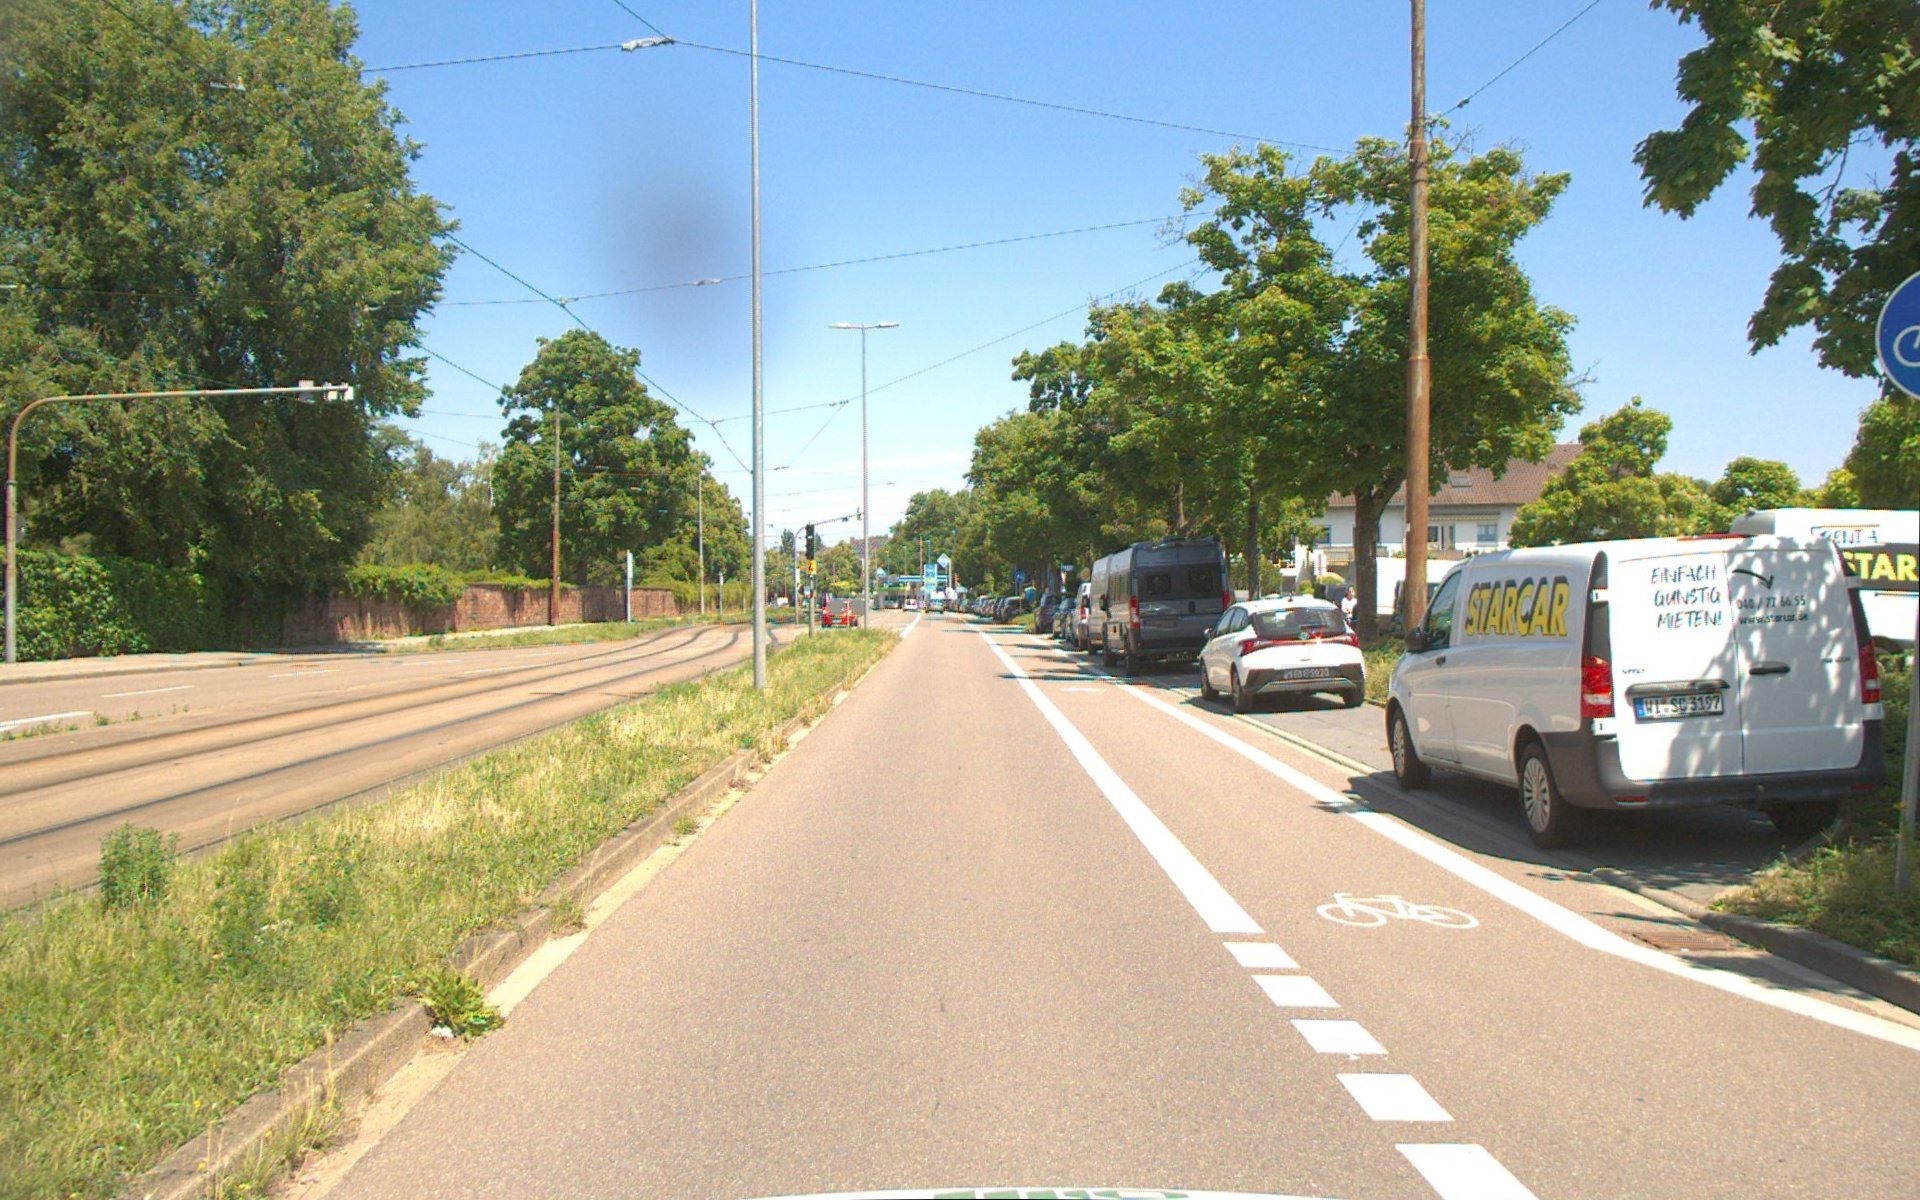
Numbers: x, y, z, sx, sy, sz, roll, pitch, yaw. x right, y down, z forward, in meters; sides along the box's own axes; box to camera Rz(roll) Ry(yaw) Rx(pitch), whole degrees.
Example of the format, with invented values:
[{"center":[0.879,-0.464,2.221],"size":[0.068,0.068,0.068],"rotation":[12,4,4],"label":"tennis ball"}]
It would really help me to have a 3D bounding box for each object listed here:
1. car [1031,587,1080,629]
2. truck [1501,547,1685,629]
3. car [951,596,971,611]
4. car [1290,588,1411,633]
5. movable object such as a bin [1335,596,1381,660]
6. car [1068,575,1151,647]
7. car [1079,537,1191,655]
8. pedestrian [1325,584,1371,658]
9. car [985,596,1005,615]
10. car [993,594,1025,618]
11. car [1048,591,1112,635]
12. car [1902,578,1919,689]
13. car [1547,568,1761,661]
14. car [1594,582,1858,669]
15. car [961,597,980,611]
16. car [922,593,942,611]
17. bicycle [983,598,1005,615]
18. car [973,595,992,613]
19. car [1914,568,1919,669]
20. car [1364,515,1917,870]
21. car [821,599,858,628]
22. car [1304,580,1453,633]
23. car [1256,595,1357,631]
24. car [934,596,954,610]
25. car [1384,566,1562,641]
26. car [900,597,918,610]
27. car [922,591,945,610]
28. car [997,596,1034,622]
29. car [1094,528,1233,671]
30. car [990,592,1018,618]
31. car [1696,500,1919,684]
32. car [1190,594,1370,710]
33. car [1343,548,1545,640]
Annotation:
[{"center":[4.082,0.365,71.282],"size":[1.677,1.661,4.707],"rotation":[-3,-1,-1],"label":"car"},{"center":[26.661,-0.503,69.814],"size":[6.807,3.139,2.424],"rotation":[-2,0,-2],"label":"truck"},{"center":[0.115,0.421,196.643],"size":[1.676,1.589,4.313],"rotation":[-3,0,-10],"label":"car"},{"center":[14.133,0.378,59.996],"size":[3.941,1.517,1.769],"rotation":[2,0,-3],"label":"car"},{"center":[8.720,0.606,36.228],"size":[0.776,1.376,0.889],"rotation":[0,0,-1],"label":"movable object such as a bin"},{"center":[4.333,0.283,48.762],"size":[1.956,1.911,5.276],"rotation":[-3,0,1],"label":"car"},{"center":[4.339,-0.102,42.061],"size":[1.957,2.682,6.141],"rotation":[-3,0,-1],"label":"car"},{"center":[8.705,0.462,37.154],"size":[0.789,1.653,0.943],"rotation":[0,0,-1],"label":"pedestrian"},{"center":[3.002,0.478,142.499],"size":[1.488,1.556,3.816],"rotation":[-3,0,-1],"label":"car"},{"center":[3.376,0.397,114.951],"size":[1.804,1.556,4.350],"rotation":[-3,0,-3],"label":"car"},{"center":[4.281,0.435,59.465],"size":[1.678,1.443,4.706],"rotation":[-3,0,-3],"label":"car"},{"center":[14.858,0.505,21.912],"size":[3.809,1.498,1.727],"rotation":[2,0,-4],"label":"car"},{"center":[14.754,0.305,35.264],"size":[3.706,1.815,1.952],"rotation":[2,0,-5],"label":"car"},{"center":[15.066,0.490,32.678],"size":[4.319,1.532,1.953],"rotation":[2,0,-4],"label":"car"},{"center":[1.179,0.422,185.486],"size":[1.674,1.518,5.033],"rotation":[-3,0,-5],"label":"car"},{"center":[-2.853,0.211,168.196],"size":[1.721,1.659,4.321],"rotation":[-3,0,-4],"label":"car"},{"center":[2.888,0.546,140.457],"size":[1.737,1.249,0.684],"rotation":[-5,-1,3],"label":"bicycle"},{"center":[2.292,0.358,168.655],"size":[1.803,1.723,4.777],"rotation":[-3,0,-1],"label":"car"},{"center":[26.492,0.362,40.163],"size":[5.378,2.502,2.094],"rotation":[-2,0,0],"label":"car"},{"center":[4.553,0.518,12.104],"size":[1.841,1.950,5.124],"rotation":[-3,0,0],"label":"car"},{"center":[-6.364,0.701,87.594],"size":[1.671,1.438,4.281],"rotation":[0,0,0],"label":"car"},{"center":[14.421,0.227,57.163],"size":[4.596,1.673,1.954],"rotation":[2,0,0],"label":"car"},{"center":[14.184,0.526,67.834],"size":[3.781,1.381,1.770],"rotation":[2,0,0],"label":"car"},{"center":[-2.058,0.414,212.485],"size":[1.724,1.659,4.313],"rotation":[-3,0,-10],"label":"car"},{"center":[14.313,0.097,46.273],"size":[4.320,1.942,1.952],"rotation":[2,0,-6],"label":"car"},{"center":[-6.581,0.453,212.032],"size":[1.723,1.659,4.315],"rotation":[-3,0,-8],"label":"car"},{"center":[-3.597,0.065,222.569],"size":[1.965,2.499,6.093],"rotation":[-3,0,-11],"label":"car"},{"center":[3.441,0.541,102.985],"size":[1.804,1.461,4.821],"rotation":[-3,0,-3],"label":"car"},{"center":[4.200,-0.025,35.122],"size":[1.957,2.682,6.077],"rotation":[-3,0,-1],"label":"car"},{"center":[3.191,0.339,120.584],"size":[1.803,1.736,4.626],"rotation":[-3,0,0],"label":"car"},{"center":[14.677,-0.059,24.806],"size":[6.209,2.573,2.264],"rotation":[2,0,2],"label":"car"},{"center":[4.497,0.681,23.857],"size":[1.687,1.453,4.208],"rotation":[-3,0,-1],"label":"car"},{"center":[14.337,-0.178,49.212],"size":[5.378,2.502,2.094],"rotation":[2,0,0],"label":"car"}]
